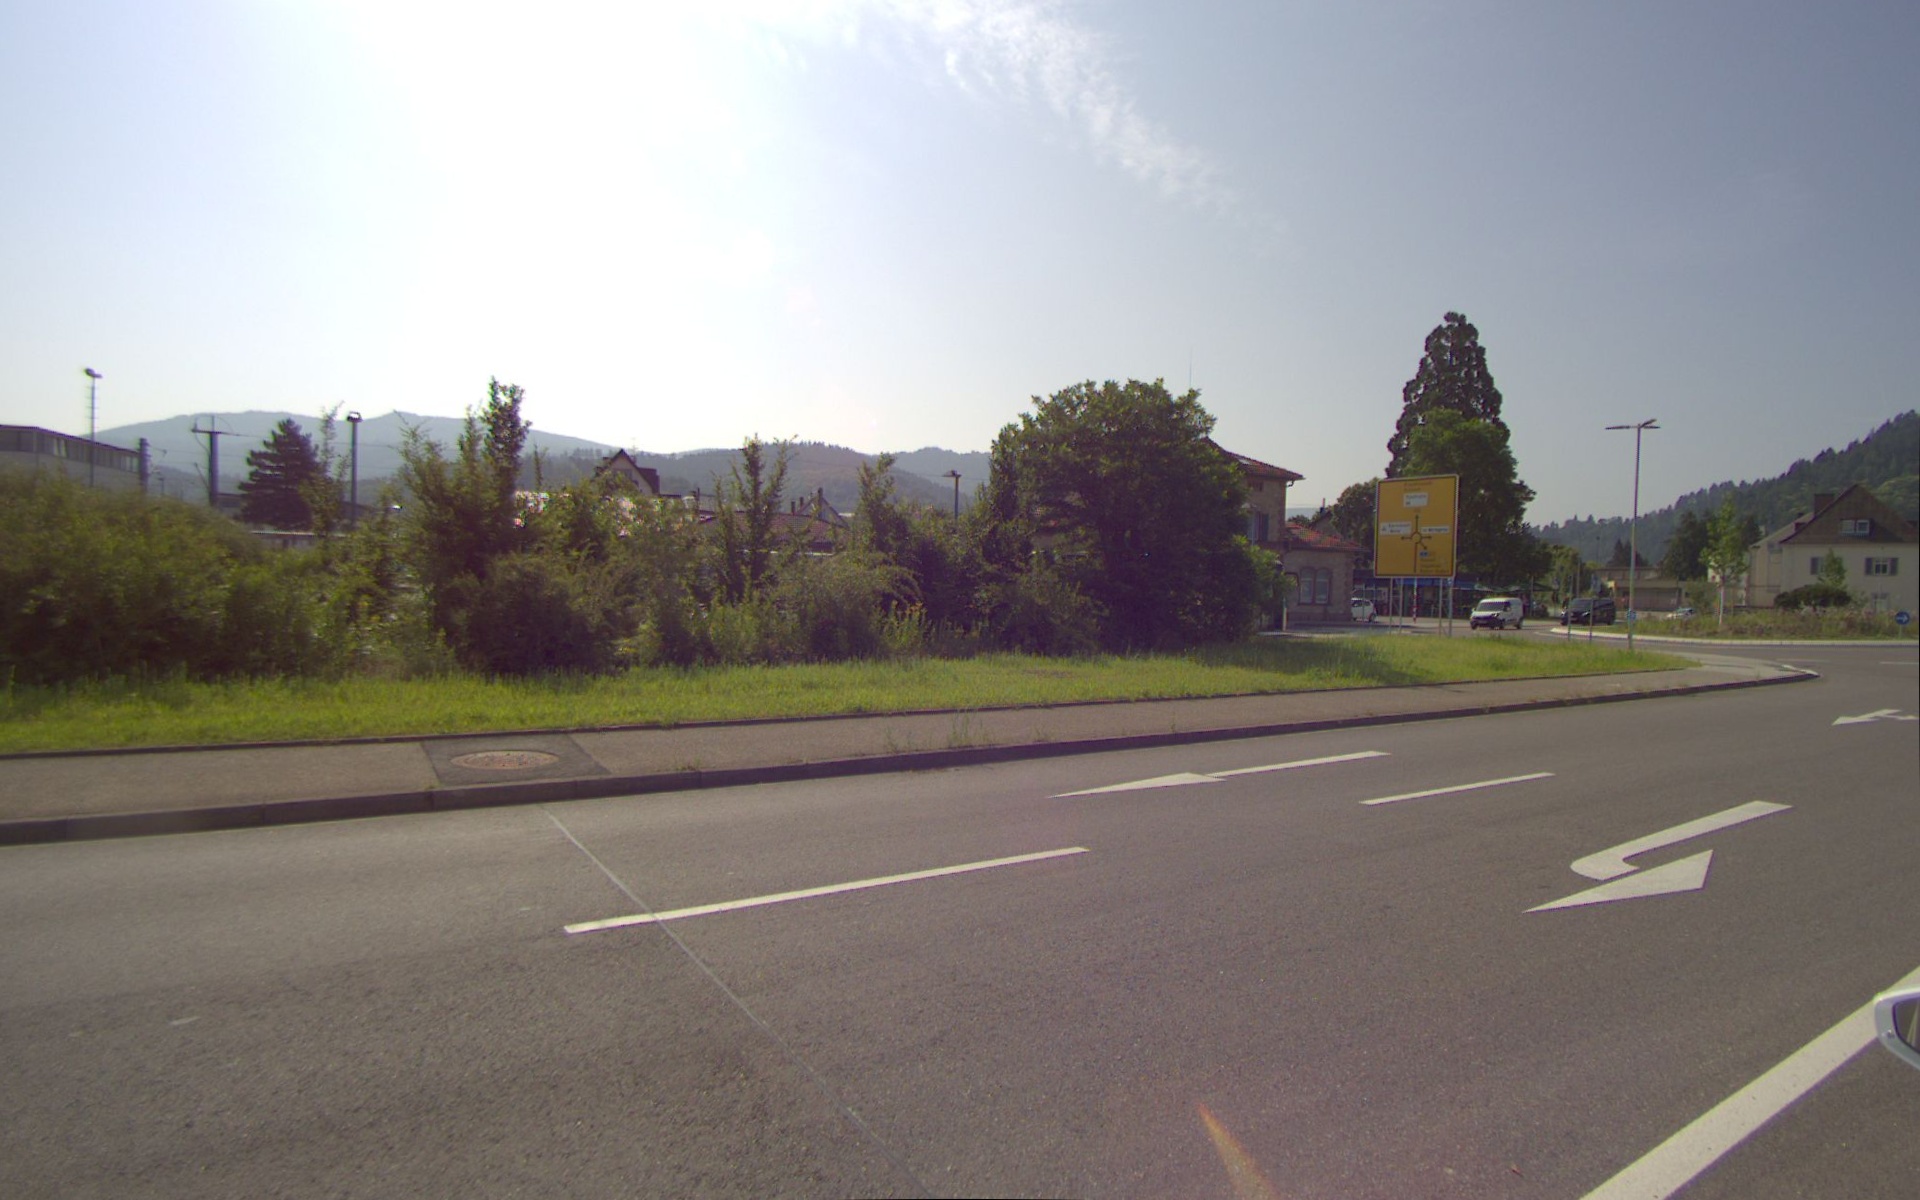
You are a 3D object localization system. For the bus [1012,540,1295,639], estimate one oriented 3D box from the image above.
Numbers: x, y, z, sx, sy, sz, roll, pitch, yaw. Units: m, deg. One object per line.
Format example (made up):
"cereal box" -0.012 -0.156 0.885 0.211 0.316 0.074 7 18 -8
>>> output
"bus" 7.404 -0.314 36.937 11.604 3.165 3.044 1 1 -35

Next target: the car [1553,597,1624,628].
"car" 42.844 0.862 68.420 4.818 1.971 1.833 2 0 -26

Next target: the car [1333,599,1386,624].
"car" 27.038 0.795 67.909 3.495 1.469 1.382 4 -1 -29

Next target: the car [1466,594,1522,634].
"car" 31.763 0.792 59.698 1.786 2.106 4.577 3 4 42
